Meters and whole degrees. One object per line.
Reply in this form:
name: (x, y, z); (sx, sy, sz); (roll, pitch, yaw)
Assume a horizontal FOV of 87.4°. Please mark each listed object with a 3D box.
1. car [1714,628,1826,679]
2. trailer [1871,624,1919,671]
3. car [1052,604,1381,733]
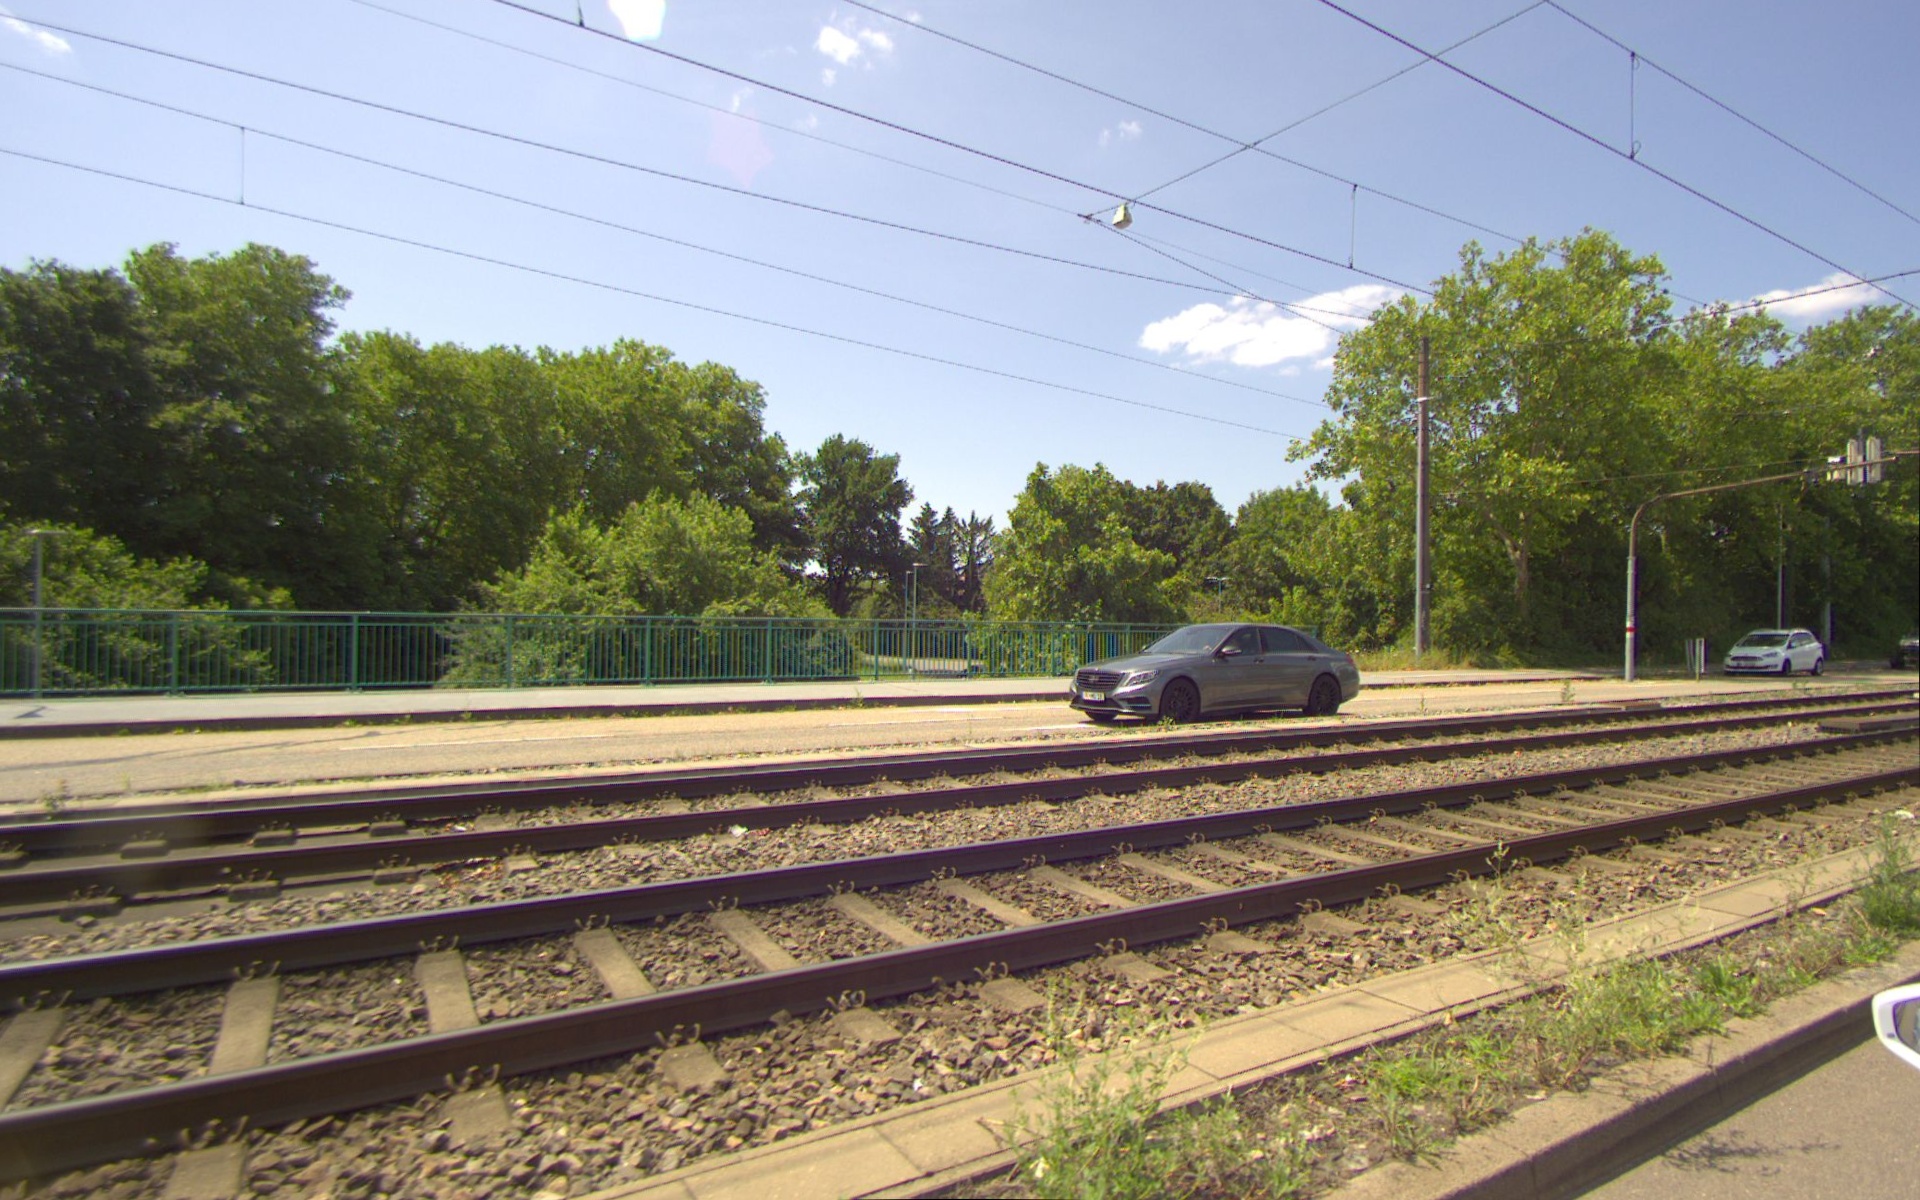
car: (29.194, 1.900, 36.173); (4.564, 1.652, 1.711); (0, -3, -32)
trailer: (42.520, 2.068, 44.150); (5.903, 1.914, 2.445); (1, 0, -35)
car: (4.124, 0.994, 15.785); (5.270, 1.743, 1.865); (2, -1, -31)
